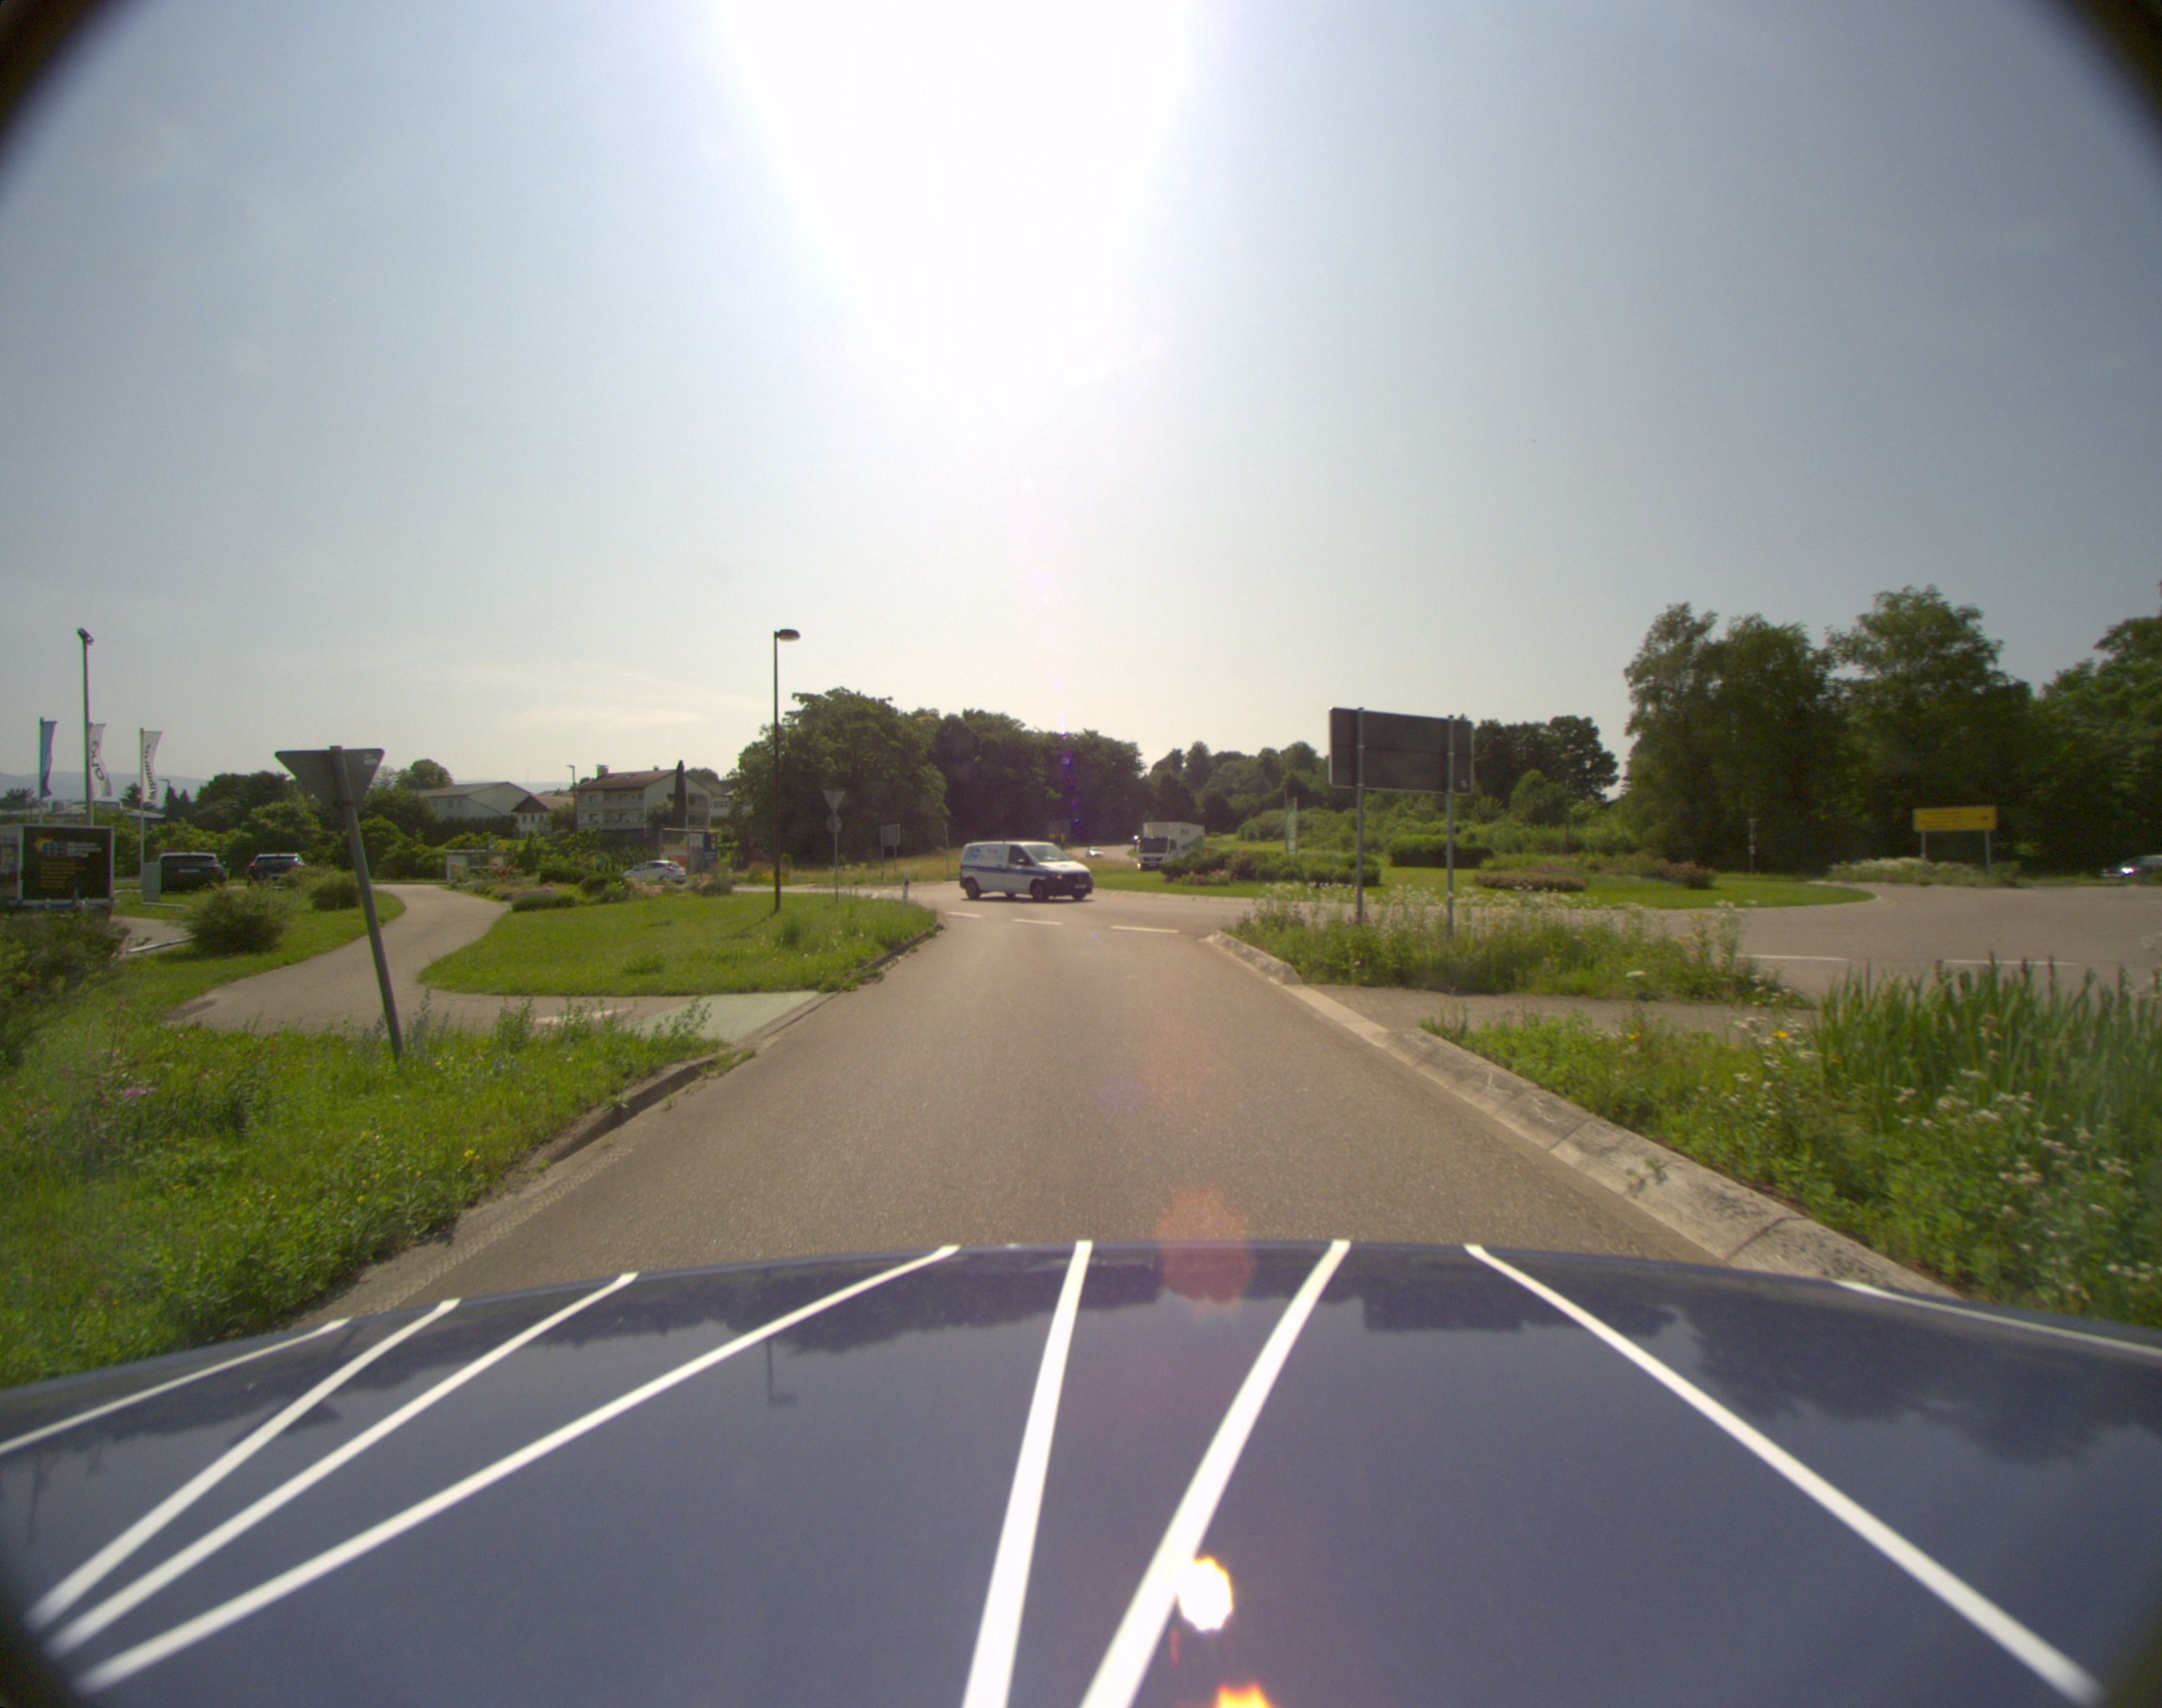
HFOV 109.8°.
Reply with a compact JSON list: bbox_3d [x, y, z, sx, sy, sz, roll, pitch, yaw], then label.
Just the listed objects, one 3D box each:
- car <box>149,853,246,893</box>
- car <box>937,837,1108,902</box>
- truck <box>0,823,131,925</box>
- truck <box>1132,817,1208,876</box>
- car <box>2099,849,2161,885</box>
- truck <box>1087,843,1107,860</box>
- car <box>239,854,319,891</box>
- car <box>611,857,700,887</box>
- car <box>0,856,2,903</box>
[{"bbox_3d":[-36.460,0.722,31.488,1.913,1.504,4.363,0,0,-40],"label":"car"},{"bbox_3d":[-1.925,0.509,24.707,5.218,1.927,1.863,-1,2,23],"label":"car"},{"bbox_3d":[-29.982,0.508,21.786,5.613,2.649,1.953,0,1,23],"label":"truck"},{"bbox_3d":[6.556,-0.625,54.339,2.893,3.807,9.036,-1,1,23],"label":"truck"},{"bbox_3d":[54.118,0.605,37.517,4.633,1.643,2.030,-2,1,5],"label":"car"},{"bbox_3d":[2.135,-0.314,99.320,2.360,2.002,5.440,-2,1,4],"label":"truck"},{"bbox_3d":[-35.200,0.747,33.461,1.913,1.504,4.363,0,0,-40],"label":"car"},{"bbox_3d":[-25.574,1.098,45.779,4.193,1.606,2.131,-3,-1,8],"label":"car"},{"bbox_3d":[-37.934,0.914,25.408,3.808,1.671,1.914,0,1,38],"label":"car"}]
